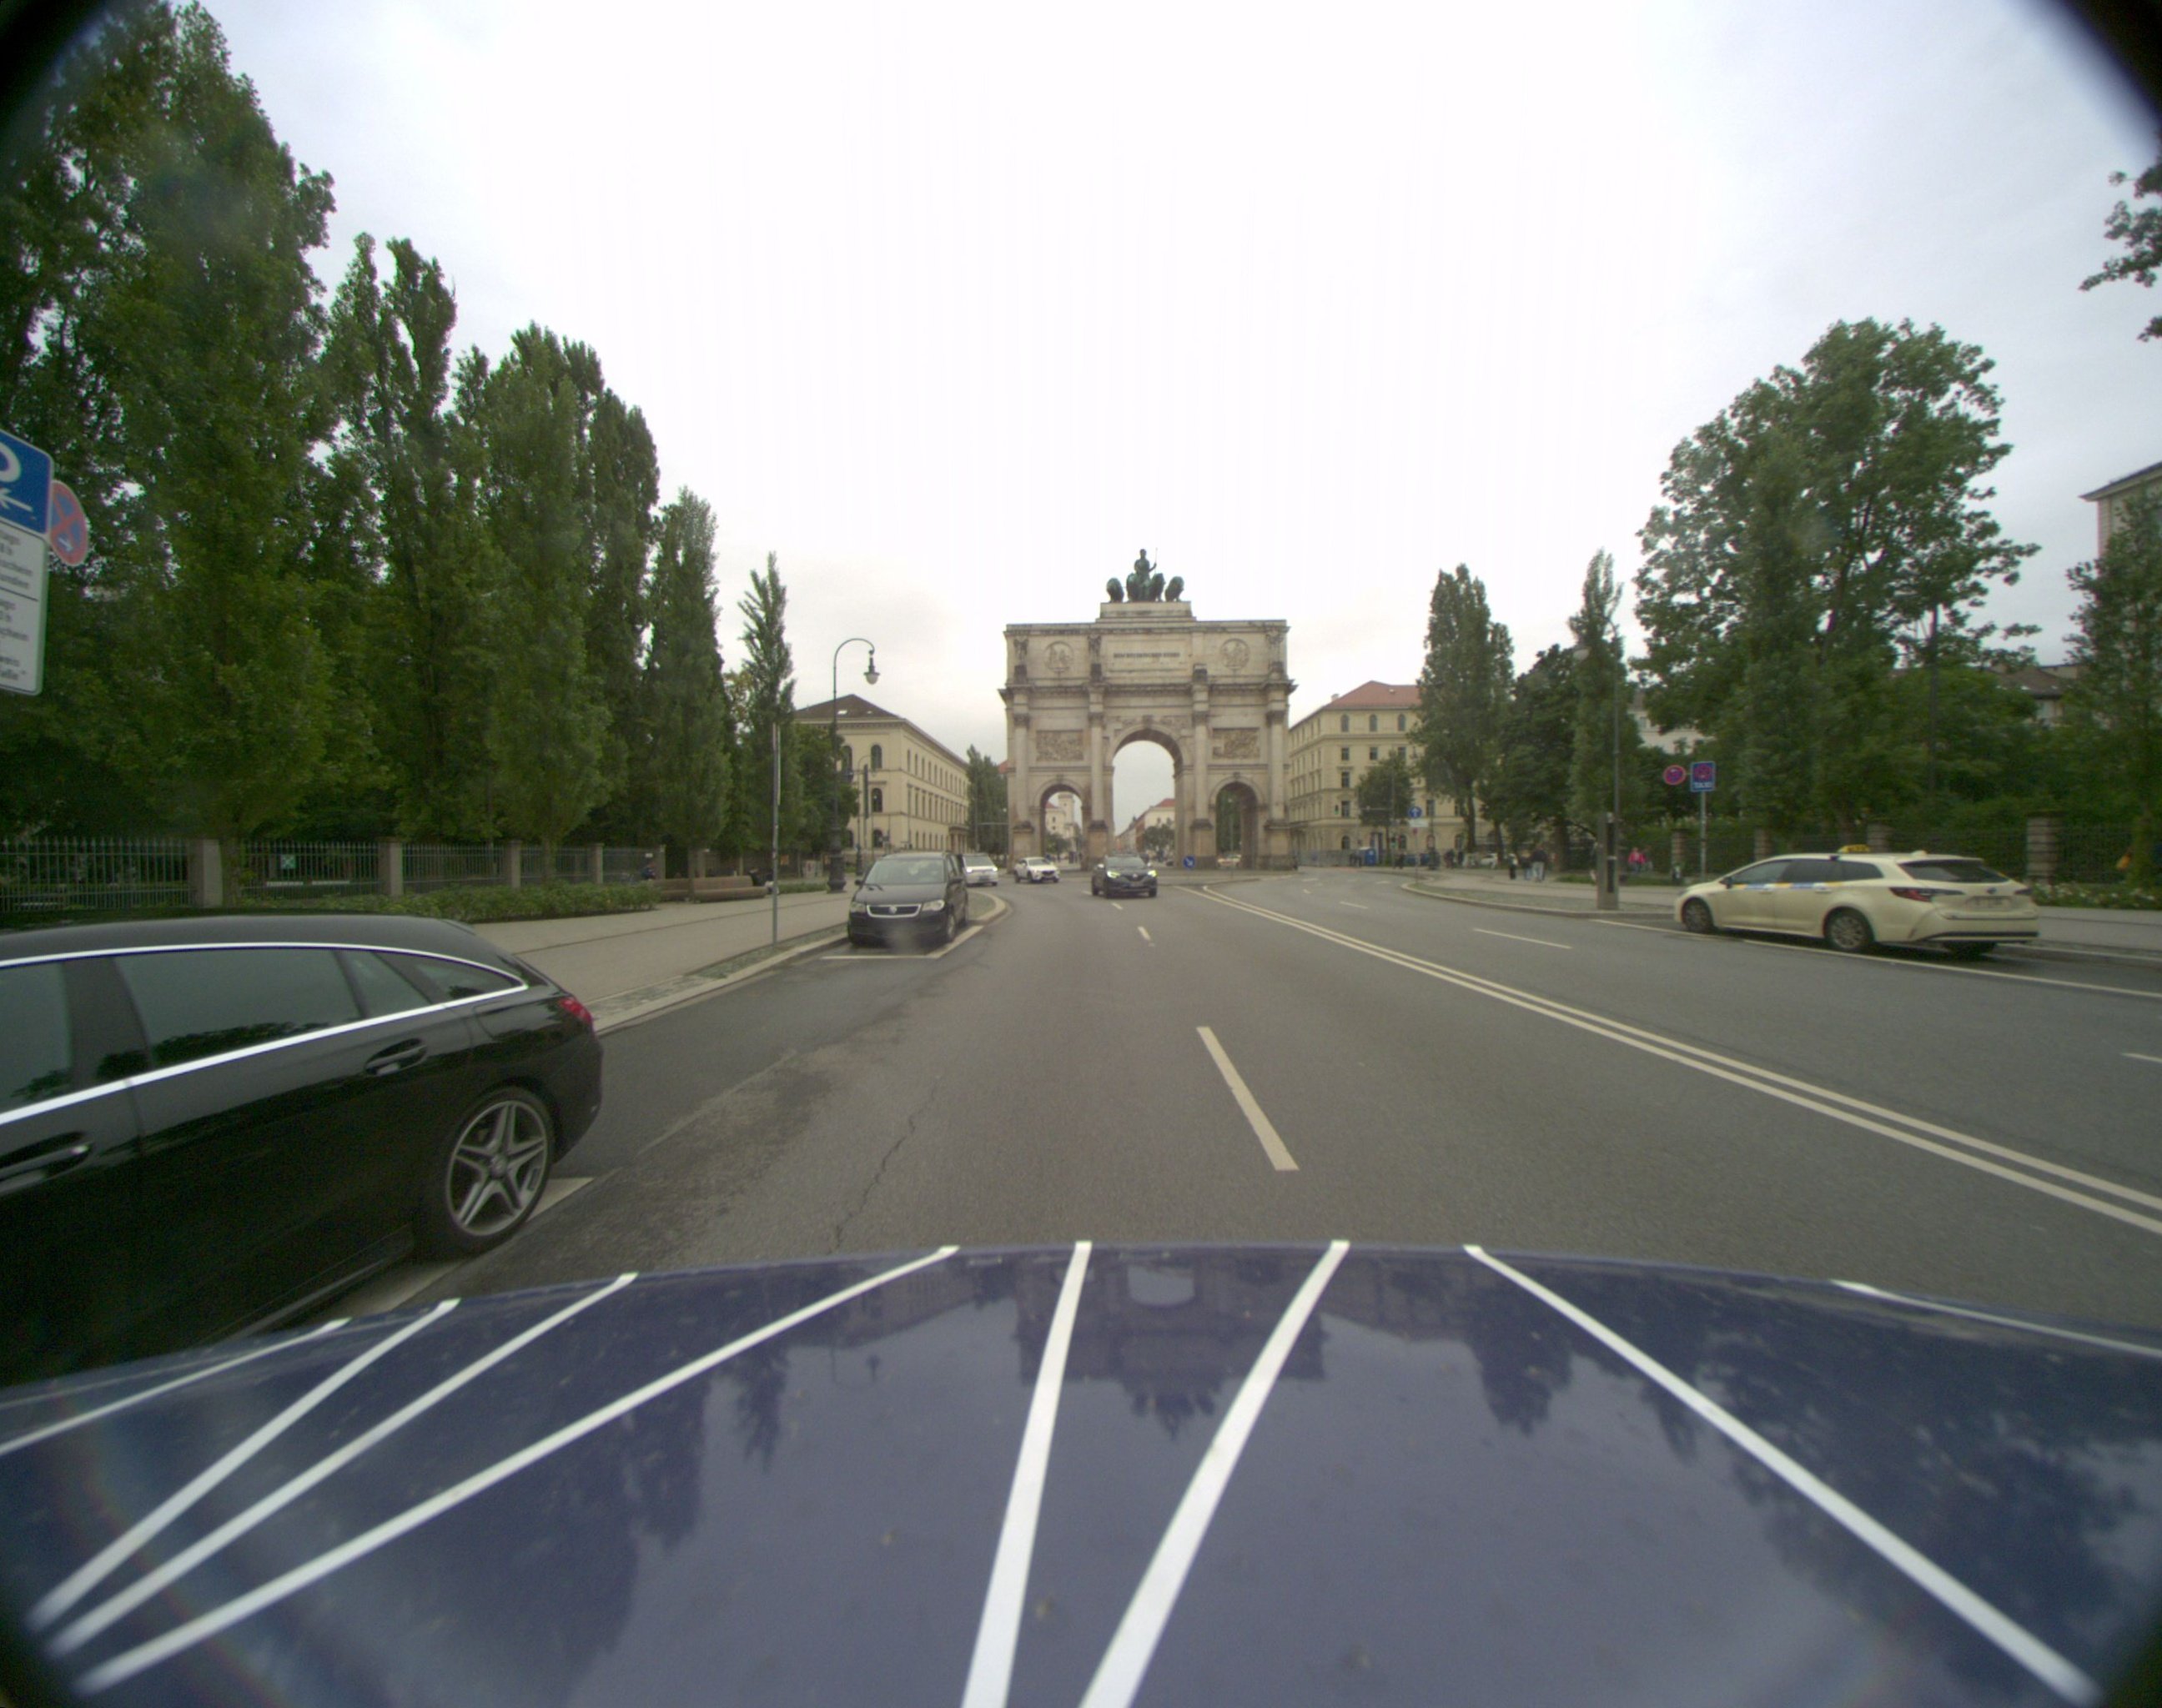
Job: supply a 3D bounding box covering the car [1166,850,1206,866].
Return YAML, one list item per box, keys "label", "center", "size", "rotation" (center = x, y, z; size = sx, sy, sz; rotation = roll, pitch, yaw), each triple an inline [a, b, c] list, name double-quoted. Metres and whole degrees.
- label: "car"
  center: [11.658, 0.461, 84.483]
  size: [2.004, 1.739, 3.988]
  rotation: [-1, 1, -45]

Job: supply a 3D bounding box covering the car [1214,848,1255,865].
- label: "car"
  center: [16.465, 0.272, 81.653]
  size: [2.004, 1.739, 3.989]
  rotation: [-1, 0, -38]

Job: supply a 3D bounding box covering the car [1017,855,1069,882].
- label: "car"
  center: [-2.343, 0.833, 45.776]
  size: [1.913, 1.516, 4.001]
  rotation: [-1, 0, -23]

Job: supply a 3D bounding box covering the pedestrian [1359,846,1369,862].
- label: "pedestrian"
  center: [30.868, 0.001, 82.795]
  size: [0.880, 1.812, 0.686]
  rotation: [-1, 1, 11]

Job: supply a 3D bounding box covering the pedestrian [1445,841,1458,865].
- label: "pedestrian"
  center: [32.096, -0.095, 65.795]
  size: [0.769, 2.002, 0.887]
  rotation: [-1, 1, 11]

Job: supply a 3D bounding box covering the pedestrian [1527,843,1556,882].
- label: "pedestrian"
  center: [20.964, 0.391, 34.601]
  size: [0.958, 1.708, 1.032]
  rotation: [-2, 1, 24]

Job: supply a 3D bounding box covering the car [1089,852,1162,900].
- label: "car"
  center: [1.568, 0.738, 28.211]
  size: [1.841, 1.576, 4.182]
  rotation: [-3, 0, -8]

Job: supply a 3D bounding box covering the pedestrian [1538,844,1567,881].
- label: "pedestrian"
  center: [24.592, 0.452, 39.657]
  size: [0.990, 1.860, 1.031]
  rotation: [-2, 1, 12]

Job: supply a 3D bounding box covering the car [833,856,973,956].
- label: "car"
  center: [-3.228, 0.853, 14.673]
  size: [1.847, 1.597, 4.367]
  rotation: [-1, 0, -3]

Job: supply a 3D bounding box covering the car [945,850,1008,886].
- label: "car"
  center: [-6.370, 0.800, 45.698]
  size: [2.068, 1.916, 5.716]
  rotation: [-2, 1, -25]

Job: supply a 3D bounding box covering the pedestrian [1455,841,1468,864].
- label: "pedestrian"
  center: [32.897, -0.121, 65.689]
  size: [0.769, 2.002, 0.887]
  rotation: [-1, 1, 11]

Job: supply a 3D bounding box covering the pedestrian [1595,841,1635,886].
- label: "pedestrian"
  center: [21.108, 0.352, 30.066]
  size: [0.959, 1.708, 1.031]
  rotation: [-2, 1, 14]

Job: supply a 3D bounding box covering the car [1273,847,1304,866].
- label: "car"
  center: [20.669, 0.207, 75.874]
  size: [1.998, 1.805, 4.000]
  rotation: [-1, 0, 1]

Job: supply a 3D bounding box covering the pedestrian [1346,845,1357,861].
- label: "pedestrian"
  center: [31.425, -0.071, 88.265]
  size: [1.031, 1.812, 0.882]
  rotation: [-1, 1, 9]

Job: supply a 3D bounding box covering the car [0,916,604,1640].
- label: "car"
  center: [-3.256, 1.010, 1.435]
  size: [1.846, 1.383, 4.438]
  rotation: [-1, 0, 1]

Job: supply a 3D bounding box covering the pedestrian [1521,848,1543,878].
- label: "pedestrian"
  center: [23.642, 0.461, 39.851]
  size: [0.728, 1.508, 0.842]
  rotation: [-2, 1, 12]

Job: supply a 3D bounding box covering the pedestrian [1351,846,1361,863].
- label: "pedestrian"
  center: [29.893, 0.040, 82.597]
  size: [0.880, 1.812, 0.686]
  rotation: [-1, 1, 11]

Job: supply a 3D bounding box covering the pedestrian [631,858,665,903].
- label: "pedestrian"
  center: [-17.409, 1.043, 30.569]
  size: [0.812, 1.761, 0.884]
  rotation: [-1, 1, 0]

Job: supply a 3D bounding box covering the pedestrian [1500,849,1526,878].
- label: "pedestrian"
  center: [22.867, 0.487, 40.242]
  size: [0.888, 1.508, 1.031]
  rotation: [-2, 1, 12]

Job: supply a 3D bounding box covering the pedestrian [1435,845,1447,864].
- label: "pedestrian"
  center: [33.399, 0.036, 70.525]
  size: [0.880, 1.812, 0.686]
  rotation: [-1, 1, 11]

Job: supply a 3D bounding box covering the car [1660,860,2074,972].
- label: "car"
  center: [11.615, 0.802, 11.808]
  size: [1.796, 1.329, 4.468]
  rotation: [-1, 0, 0]
